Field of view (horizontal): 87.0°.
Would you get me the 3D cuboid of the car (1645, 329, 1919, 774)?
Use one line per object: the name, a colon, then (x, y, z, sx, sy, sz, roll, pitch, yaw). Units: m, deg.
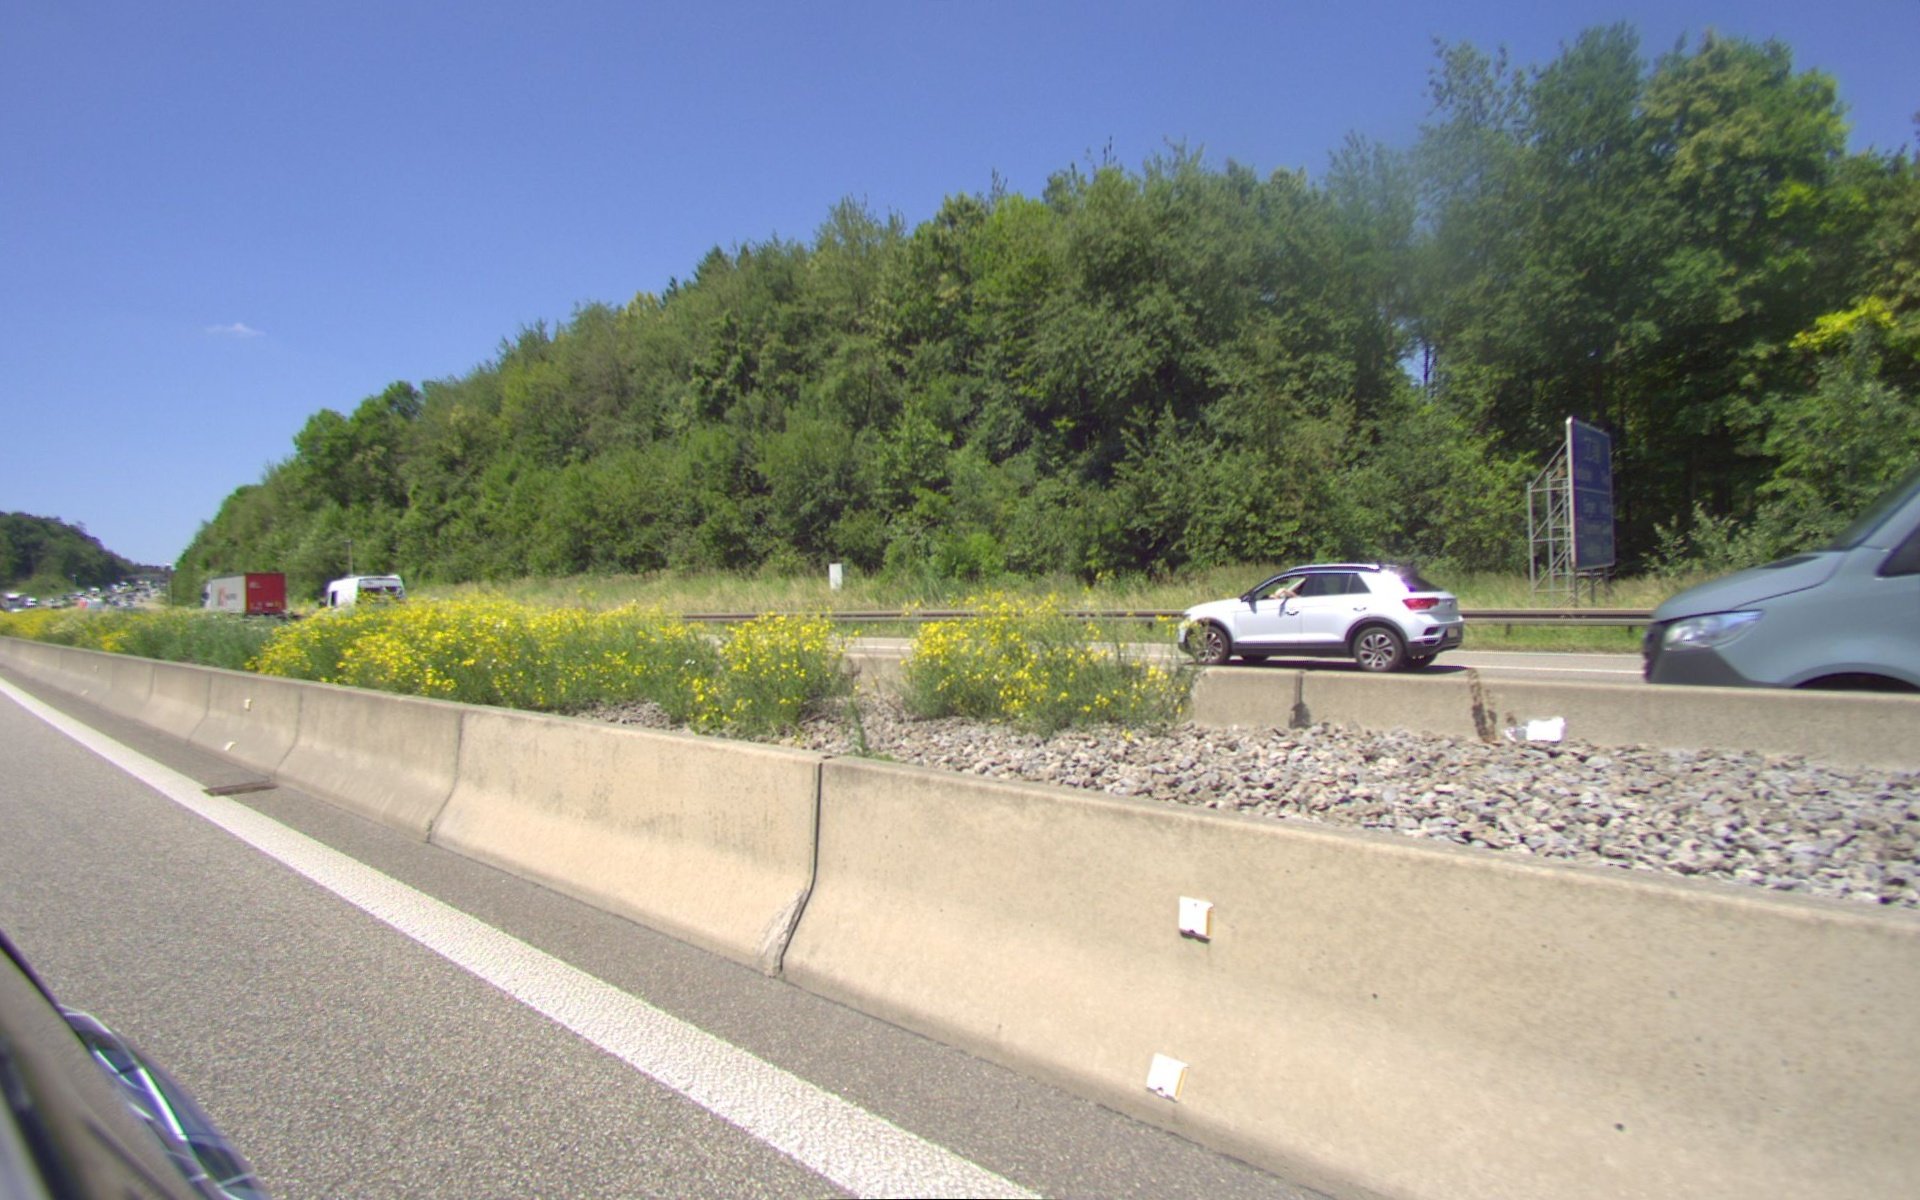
car: (6.634, -0.254, 4.011, 6.186, 2.029, 2.296, -1, 0, 44)

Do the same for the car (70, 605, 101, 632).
car: (-84.674, 1.784, 97.964, 4.002, 2.417, 1.971, -1, 0, 45)

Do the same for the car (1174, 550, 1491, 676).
car: (5.501, 0.184, 15.229, 4.116, 1.641, 1.757, -1, 0, 41)

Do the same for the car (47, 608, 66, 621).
car: (-140.911, 2.282, 157.824, 1.970, 2.029, 4.003, -2, 0, -44)

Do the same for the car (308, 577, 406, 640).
car: (-27.020, 0.366, 45.247, 5.975, 2.643, 2.133, -1, 0, 42)

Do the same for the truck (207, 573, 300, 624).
truck: (-57.231, -0.033, 81.660, 3.875, 3.746, 16.757, -1, 0, -43)

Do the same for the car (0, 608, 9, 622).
car: (-140.653, 2.222, 148.102, 4.002, 2.029, 1.971, -1, 0, 45)
